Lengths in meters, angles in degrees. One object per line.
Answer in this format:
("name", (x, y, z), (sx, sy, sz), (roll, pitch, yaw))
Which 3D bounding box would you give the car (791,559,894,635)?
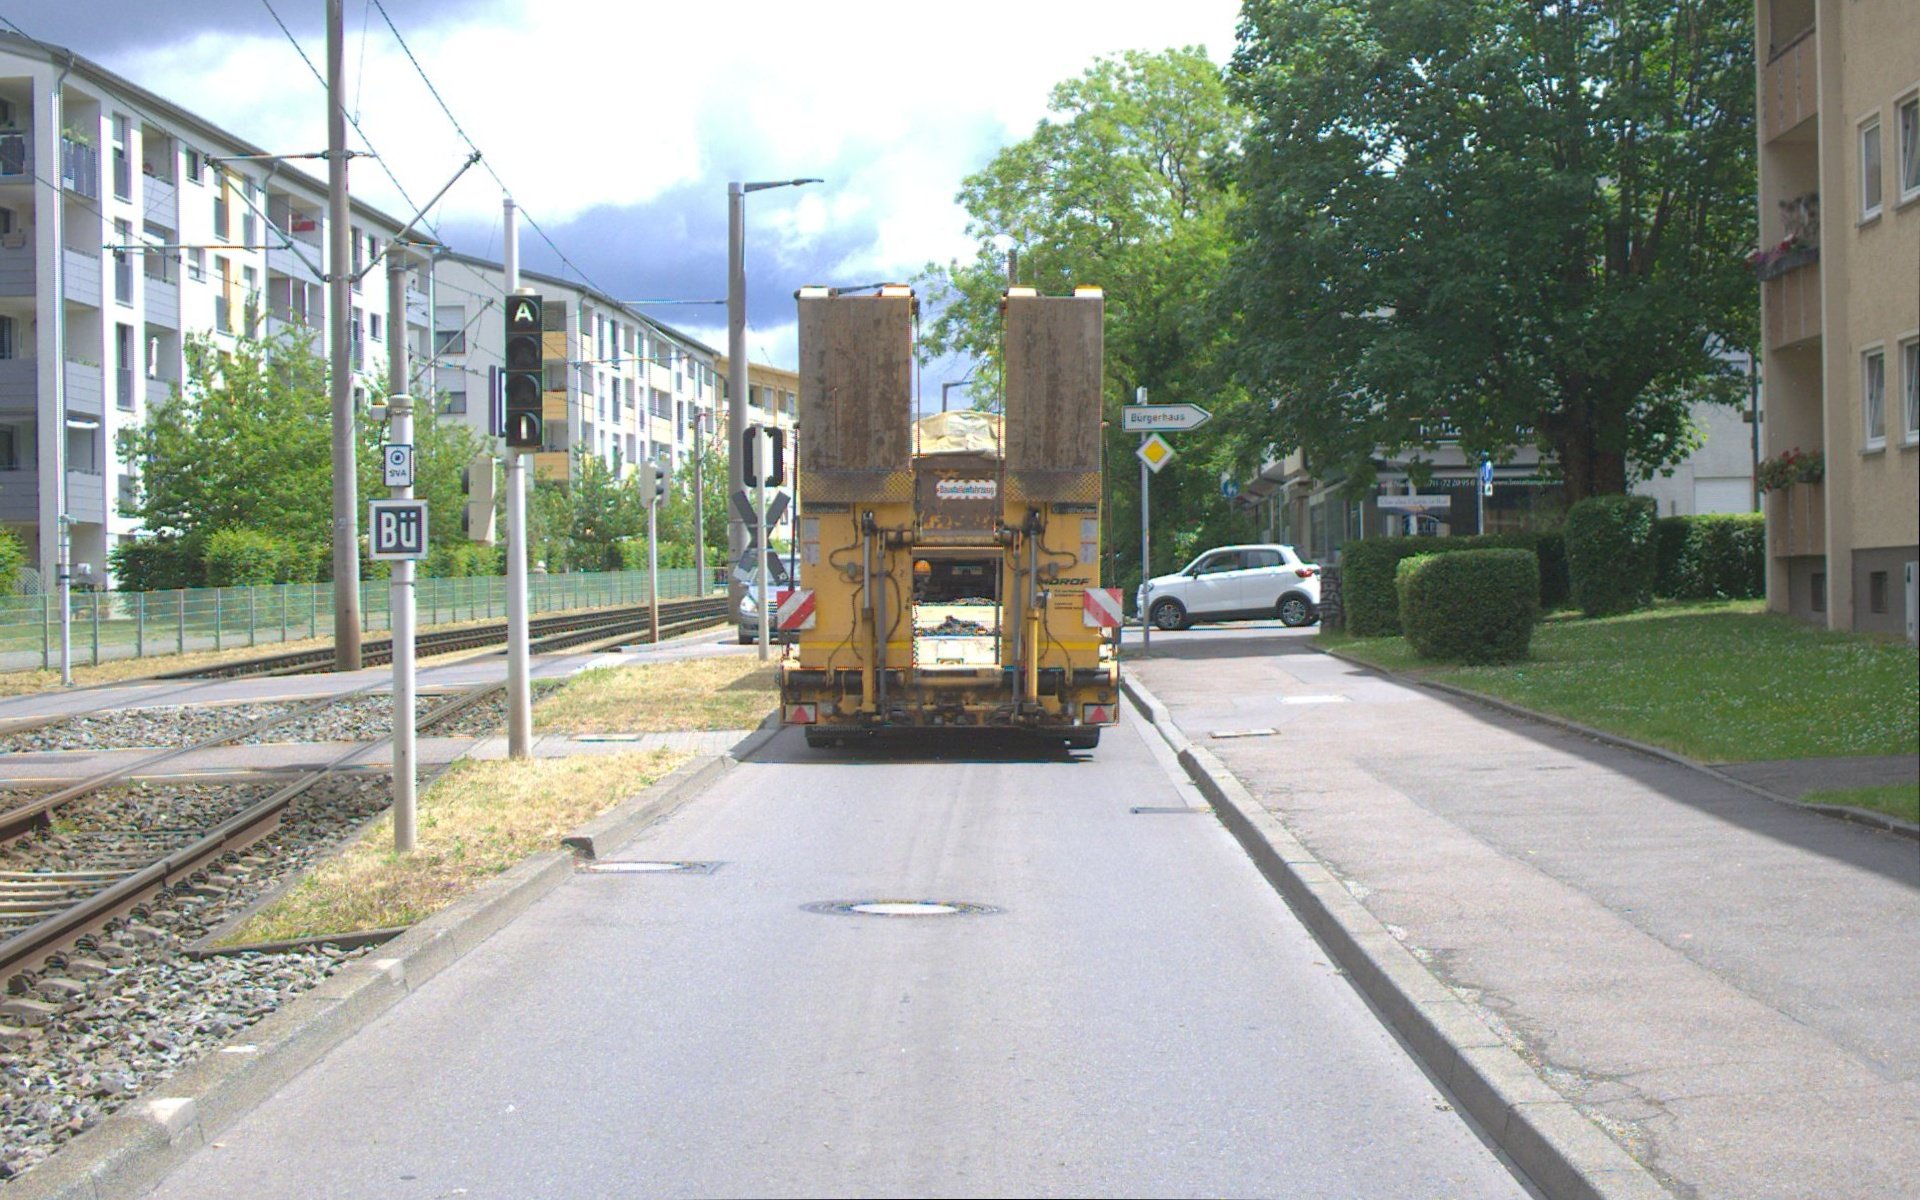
("car", (-2.247, -0.068, 66.717), (1.602, 1.376, 3.956), (-2, 0, 3))

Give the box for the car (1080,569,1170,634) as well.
("car", (4.018, 0.015, 84.421), (1.993, 1.382, 4.000), (-2, 2, 0))

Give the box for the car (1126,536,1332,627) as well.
("car", (5.112, -0.359, 65.221), (3.600, 1.579, 1.999), (-2, 0, 13))

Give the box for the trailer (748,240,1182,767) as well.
("trailer", (-0.125, -0.892, 31.045), (3.050, 3.759, 11.614), (-2, 2, -2))

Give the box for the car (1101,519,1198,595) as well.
("car", (4.363, -1.013, 79.573), (1.993, 1.612, 4.000), (-2, 2, 0))

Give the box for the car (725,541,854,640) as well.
("car", (-2.988, -0.175, 60.961), (1.802, 1.646, 4.131), (-2, 0, 3))

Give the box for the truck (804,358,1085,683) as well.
("truck", (-0.278, -0.961, 40.132), (2.833, 3.318, 7.985), (-2, 2, -2))
